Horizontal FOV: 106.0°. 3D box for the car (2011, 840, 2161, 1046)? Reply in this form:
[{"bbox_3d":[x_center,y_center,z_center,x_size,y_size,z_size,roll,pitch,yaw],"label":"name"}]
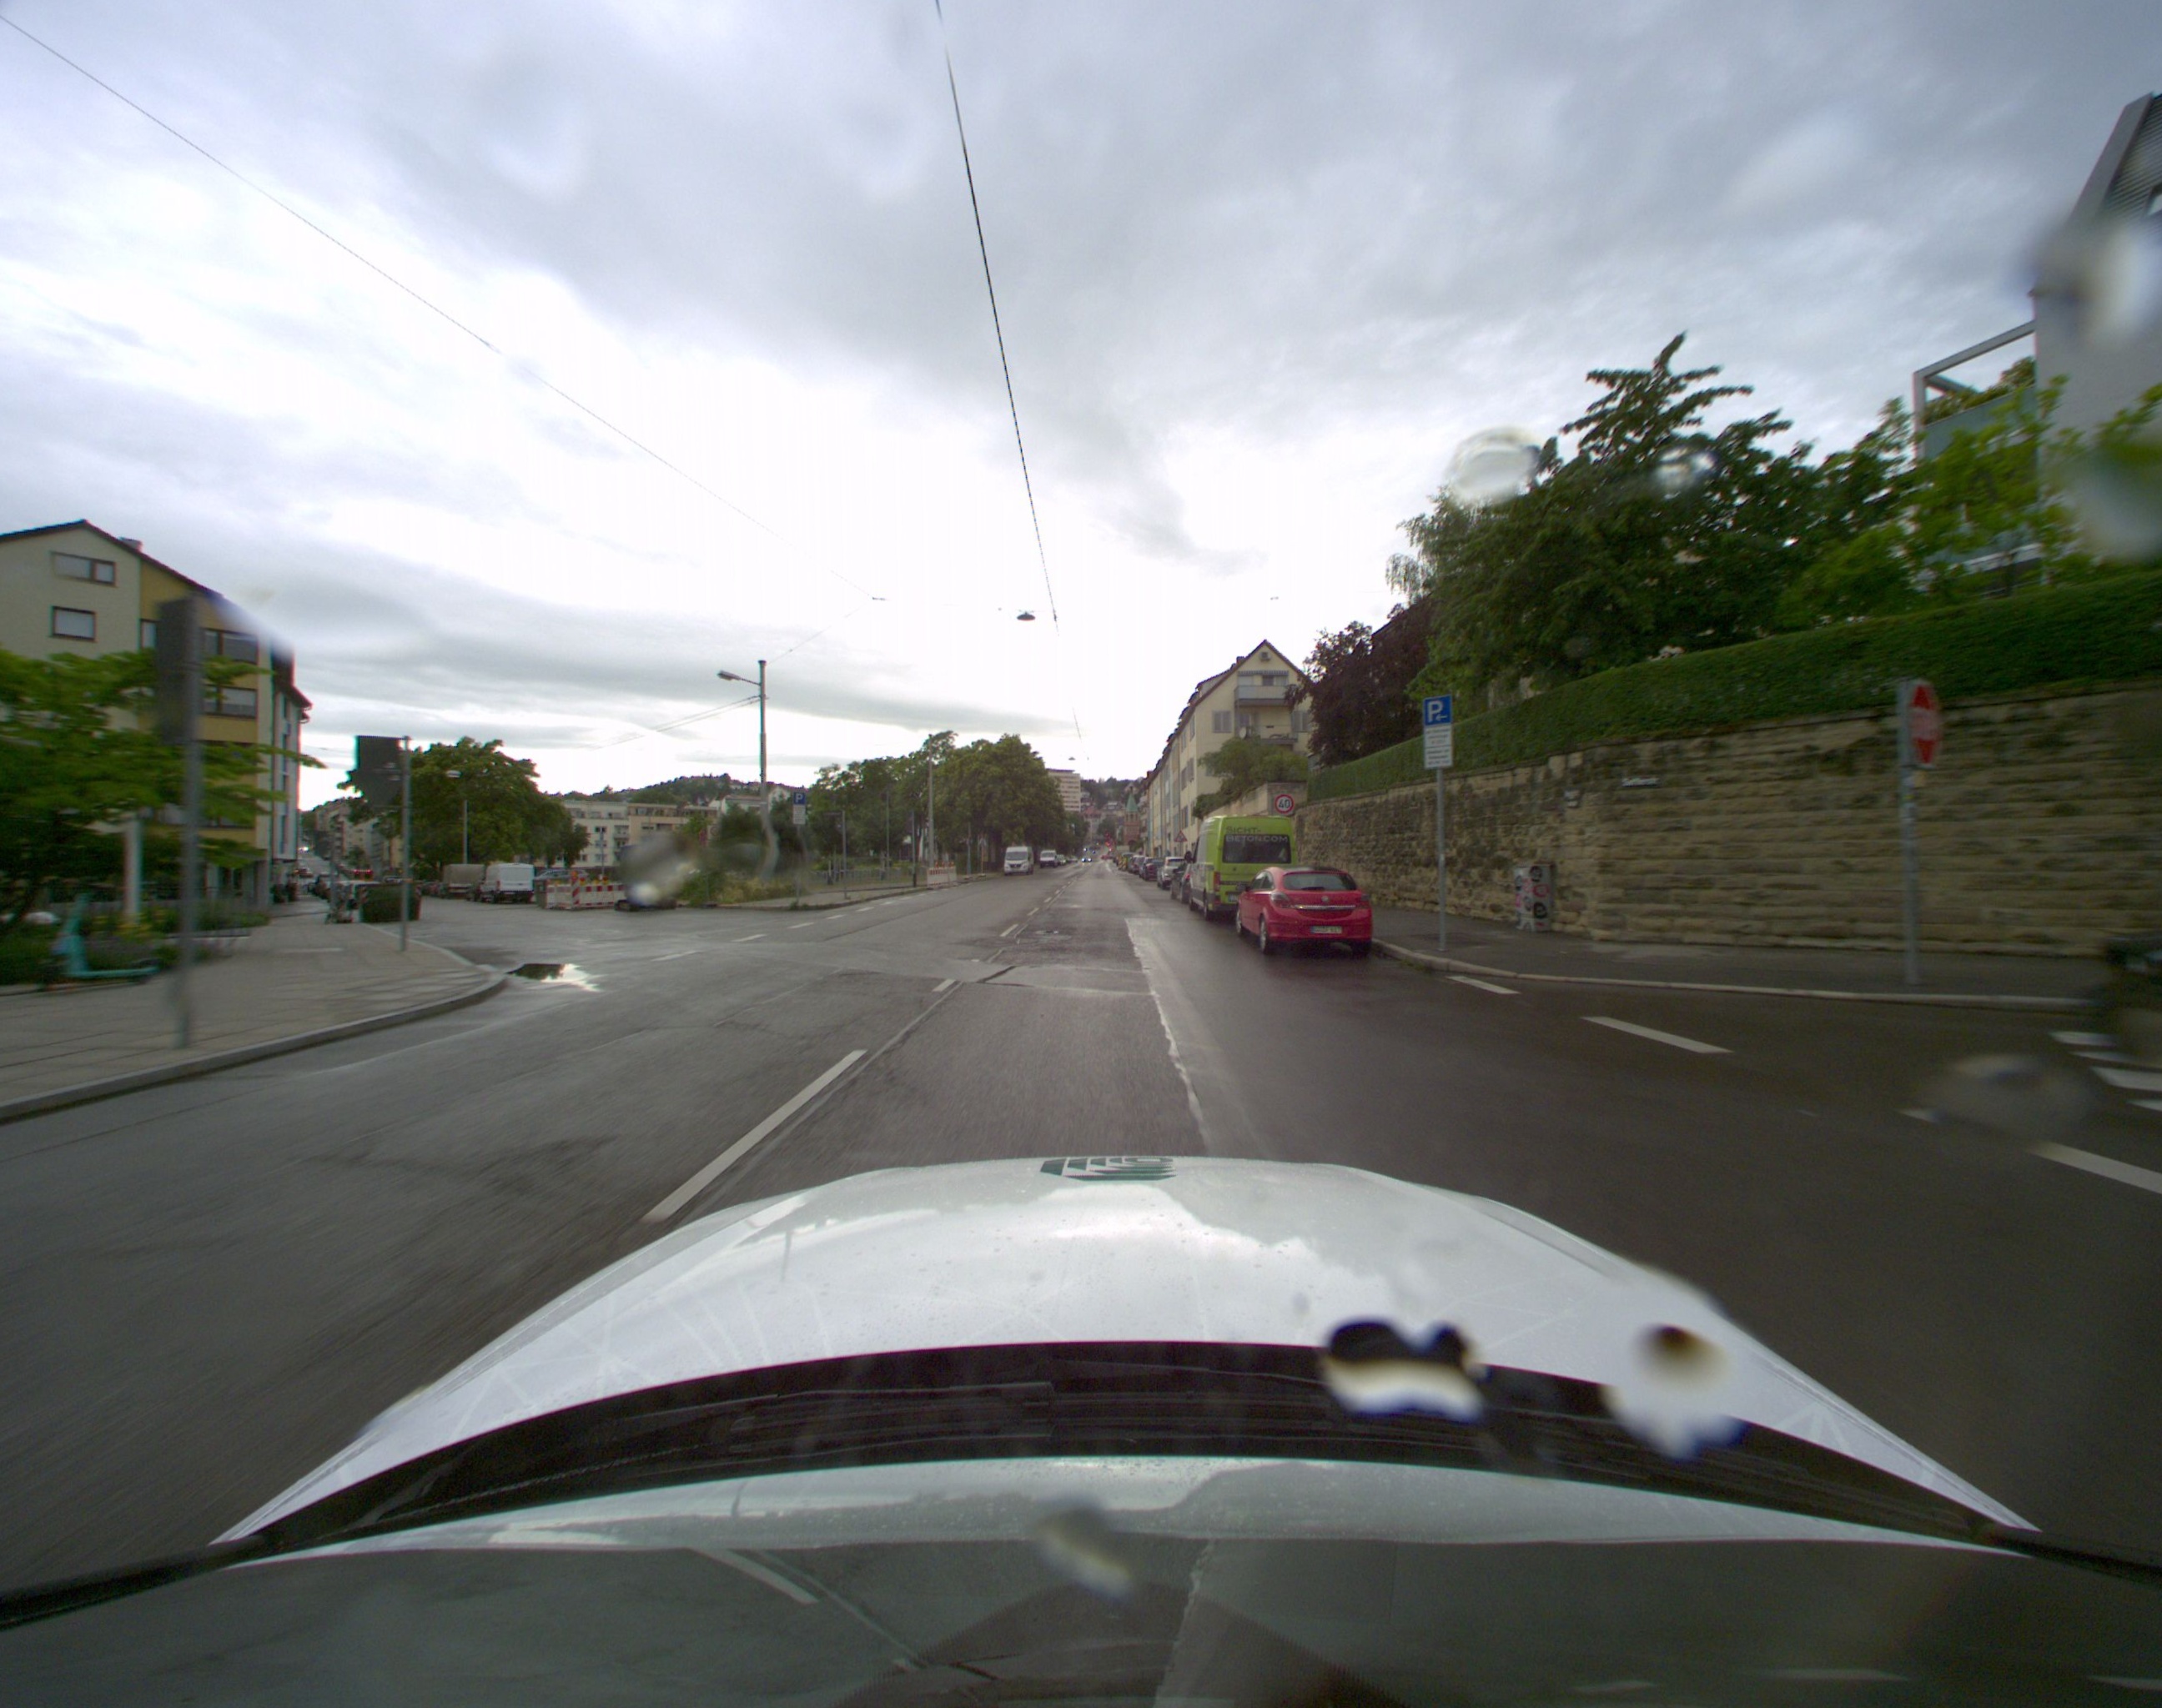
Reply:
[{"bbox_3d":[9.137,0.522,5.046,4.223,1.393,1.763,-4,-3,43],"label":"car"}]
